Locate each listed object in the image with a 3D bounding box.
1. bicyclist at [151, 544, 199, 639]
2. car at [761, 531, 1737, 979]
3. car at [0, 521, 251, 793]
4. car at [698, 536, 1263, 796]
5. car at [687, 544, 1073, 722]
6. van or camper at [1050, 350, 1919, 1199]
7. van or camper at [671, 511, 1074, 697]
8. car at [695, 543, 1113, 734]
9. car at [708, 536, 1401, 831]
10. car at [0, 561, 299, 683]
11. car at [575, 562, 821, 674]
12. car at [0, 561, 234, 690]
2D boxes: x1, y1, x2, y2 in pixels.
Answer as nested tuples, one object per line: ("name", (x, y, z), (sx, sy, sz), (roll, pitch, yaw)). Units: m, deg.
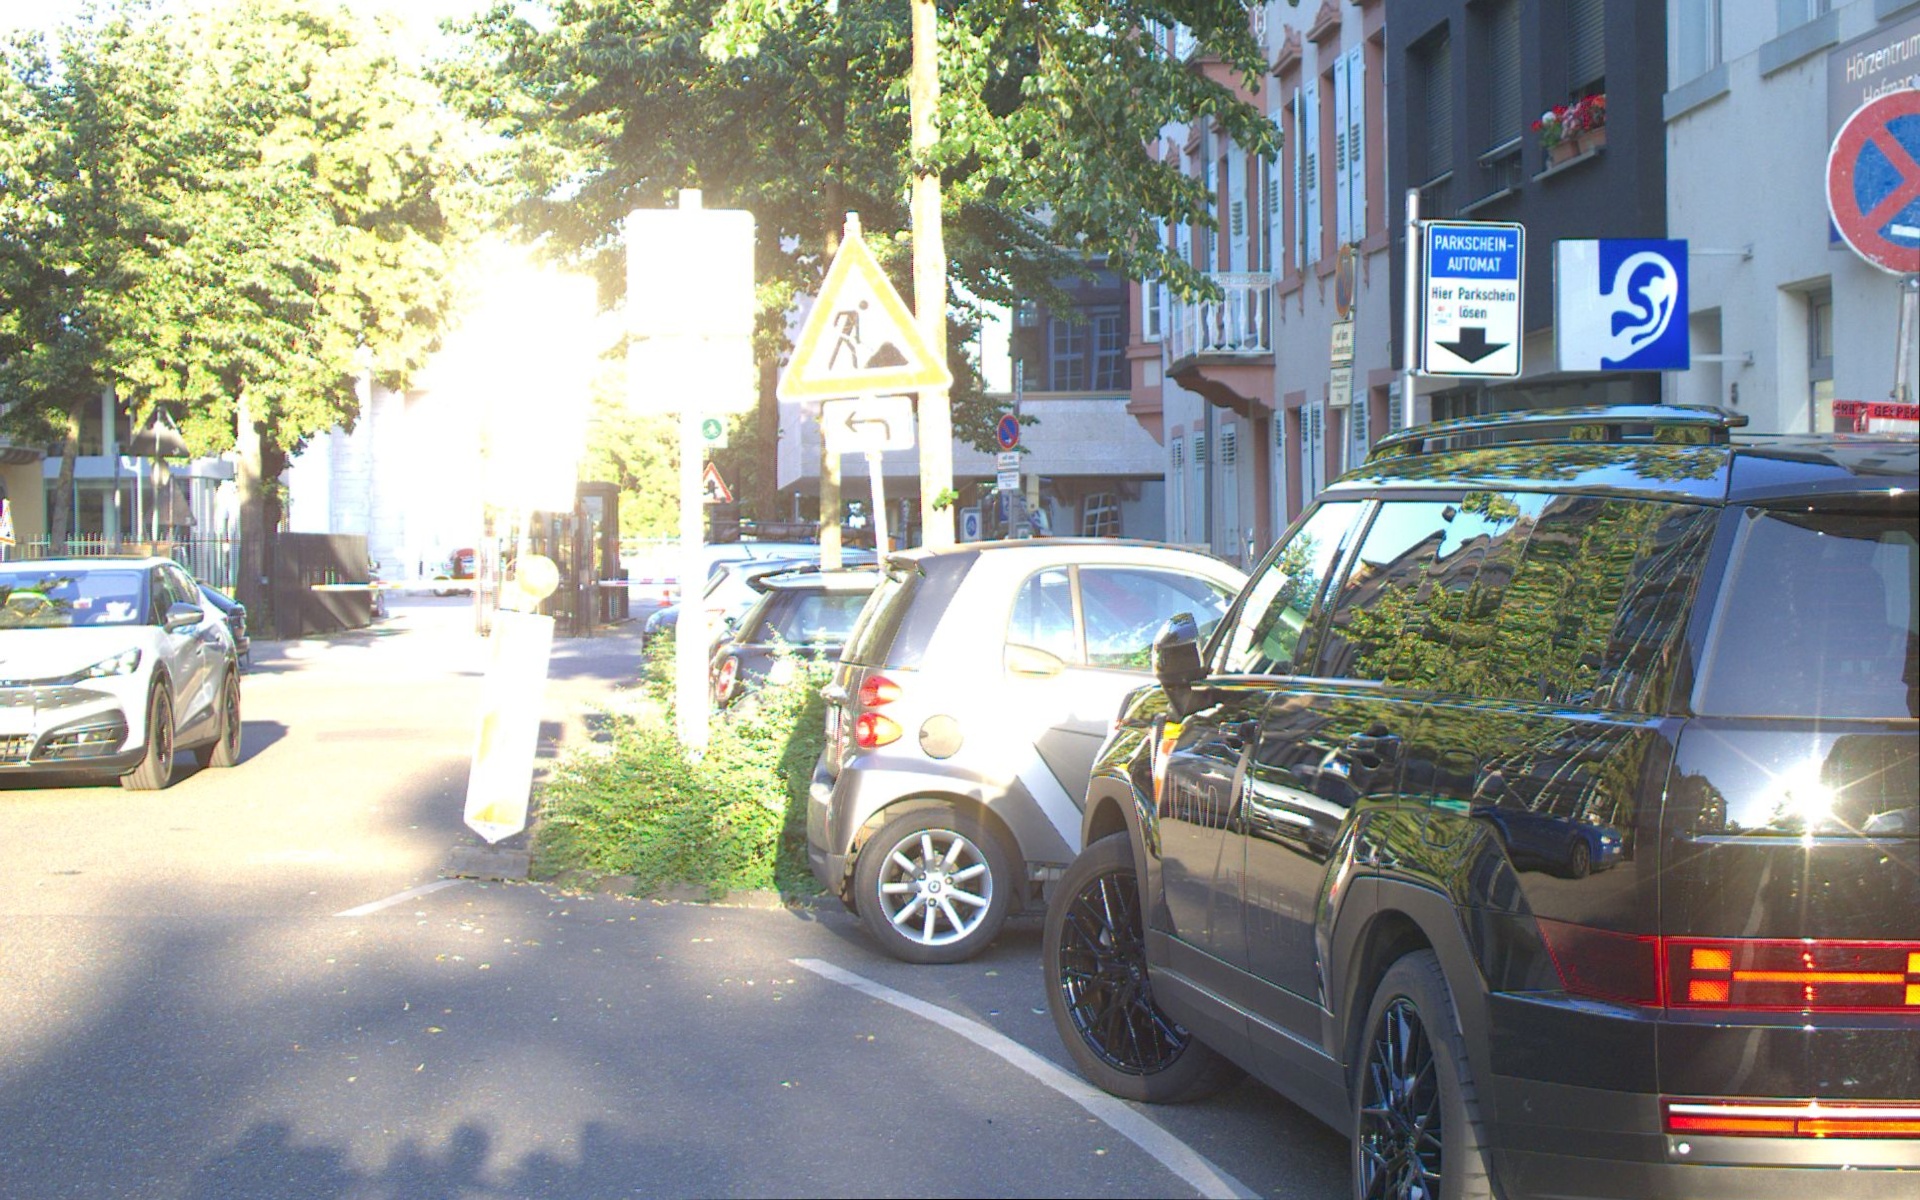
("bicyclist", (-13.320, -0.148, 58.350), (0.761, 1.600, 0.499), (-1, 1, -11))
("car", (1.065, 0.531, 13.300), (3.469, 1.570, 1.508), (-1, 1, -12))
("car", (-6.255, 0.355, 24.031), (1.873, 1.692, 4.322), (-3, 1, -3))
("car", (0.077, 0.429, 23.553), (3.684, 1.664, 1.859), (1, 1, -5))
("car", (-0.836, 0.309, 34.070), (3.684, 1.664, 1.859), (1, 1, -5))
("van or camper", (1.526, 0.486, 7.579), (1.889, 1.801, 4.462), (0, 1, -9))
("van or camper", (-1.037, 0.036, 39.153), (4.439, 1.999, 1.859), (1, 1, -5))
("car", (-0.561, 0.335, 31.599), (3.684, 1.664, 1.859), (1, 1, -5))
("car", (0.499, 0.481, 20.906), (3.994, 1.664, 1.859), (1, 1, -5))
("car", (-11.553, 0.299, 48.775), (3.987, 1.678, 1.891), (0, 1, -1))
("car", (-3.828, 0.239, 50.769), (1.855, 1.563, 3.691), (1, 1, 30))
("car", (-11.923, 0.320, 46.074), (3.987, 1.678, 1.891), (0, 1, -1))
